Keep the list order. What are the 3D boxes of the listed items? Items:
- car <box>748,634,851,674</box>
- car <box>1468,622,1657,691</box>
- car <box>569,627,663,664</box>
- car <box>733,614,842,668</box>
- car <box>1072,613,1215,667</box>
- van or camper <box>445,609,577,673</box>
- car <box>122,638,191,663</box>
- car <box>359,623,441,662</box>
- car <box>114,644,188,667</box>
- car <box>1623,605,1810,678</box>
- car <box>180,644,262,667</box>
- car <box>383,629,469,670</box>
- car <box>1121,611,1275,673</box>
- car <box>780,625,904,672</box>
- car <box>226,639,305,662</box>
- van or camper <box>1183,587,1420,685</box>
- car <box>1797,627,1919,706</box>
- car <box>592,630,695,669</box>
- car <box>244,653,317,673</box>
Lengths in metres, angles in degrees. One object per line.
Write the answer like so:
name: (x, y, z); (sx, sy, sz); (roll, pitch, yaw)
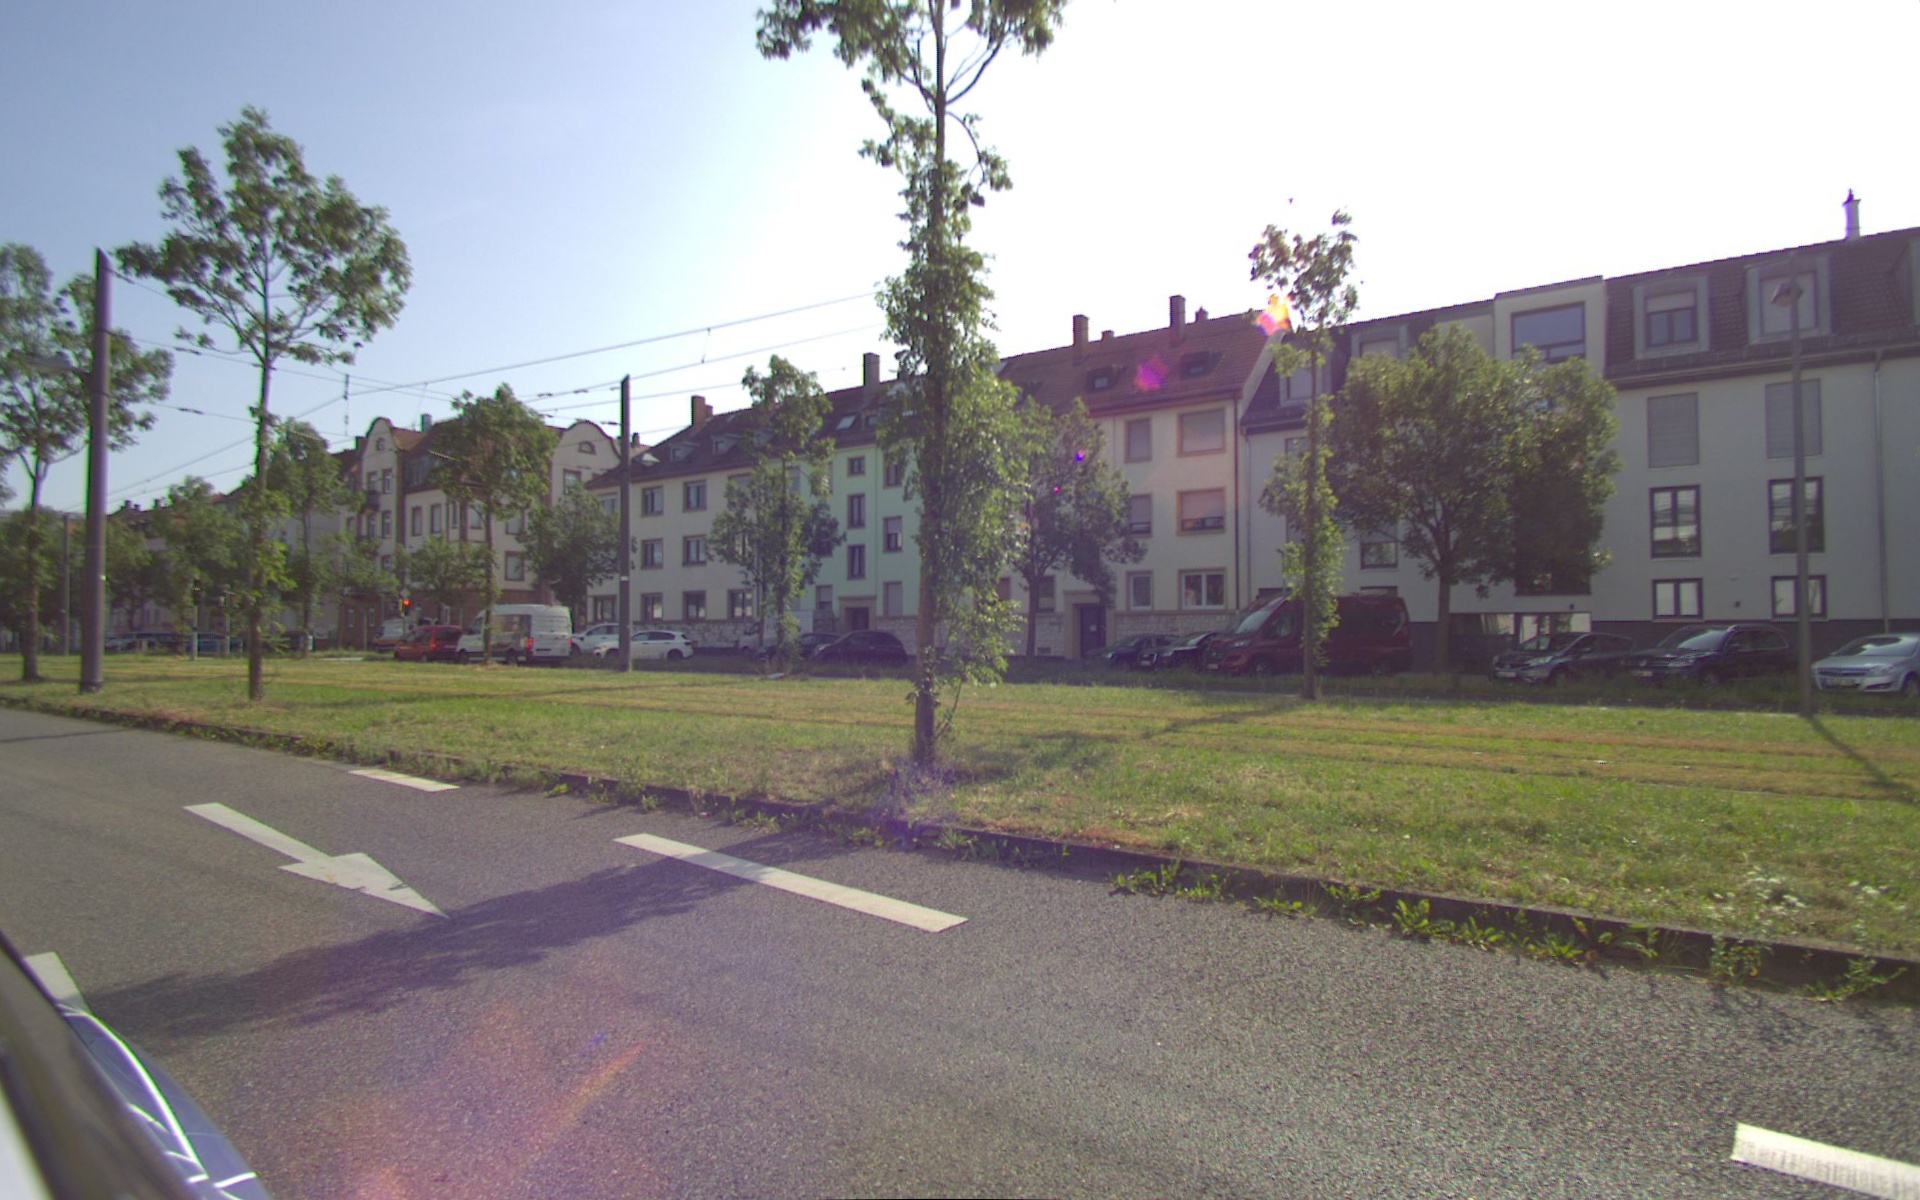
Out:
car: (-6.277, 2.069, 39.438); (3.713, 1.353, 1.778); (-1, 0, -17)
car: (14.514, 1.312, 24.404); (3.931, 1.431, 1.787); (-1, 0, -20)
car: (-15.933, 2.079, 46.993); (4.029, 1.541, 1.818); (-1, 0, -17)
car: (-8.549, 1.968, 49.856); (5.567, 2.482, 1.976); (-1, 0, 36)
car: (5.832, 1.244, 32.299); (4.082, 1.520, 1.874); (-1, 2, -17)
van or camper: (-18.561, 1.682, 41.713); (6.044, 2.493, 2.123); (-1, -3, 35)
car: (-62.806, 3.948, 79.198); (3.931, 1.719, 1.881); (-1, 0, -26)
car: (-39.772, 2.971, 71.764); (6.489, 2.583, 2.329); (-1, 0, 33)
car: (-66.237, 4.541, 82.958); (4.423, 1.617, 2.006); (-1, 0, -26)
car: (16.840, 0.877, 22.539); (3.657, 1.445, 1.647); (-1, 0, -22)
car: (-53.523, 4.014, 73.362); (4.437, 1.451, 2.007); (-1, 0, -23)
car: (-24.156, 2.219, 45.722); (4.153, 1.751, 1.799); (-1, -3, 37)
car: (7.134, 1.214, 30.425); (4.082, 1.628, 1.874); (-1, 2, -17)
car: (-4.394, 1.773, 37.513); (4.277, 1.541, 2.006); (-1, 0, -15)
car: (-48.806, 3.533, 71.183); (4.268, 1.336, 2.007); (-1, 0, -23)
van or camper: (9.628, 1.006, 28.624); (6.056, 2.566, 2.421); (0, -2, -19)
car: (19.259, 1.278, 20.449); (4.323, 1.330, 1.740); (-1, 0, -22)
car: (-14.107, 2.182, 45.203); (4.292, 1.486, 1.863); (-1, 0, -17)
car: (-45.445, 4.190, 67.732); (3.783, 1.136, 1.775); (-1, 0, -23)
